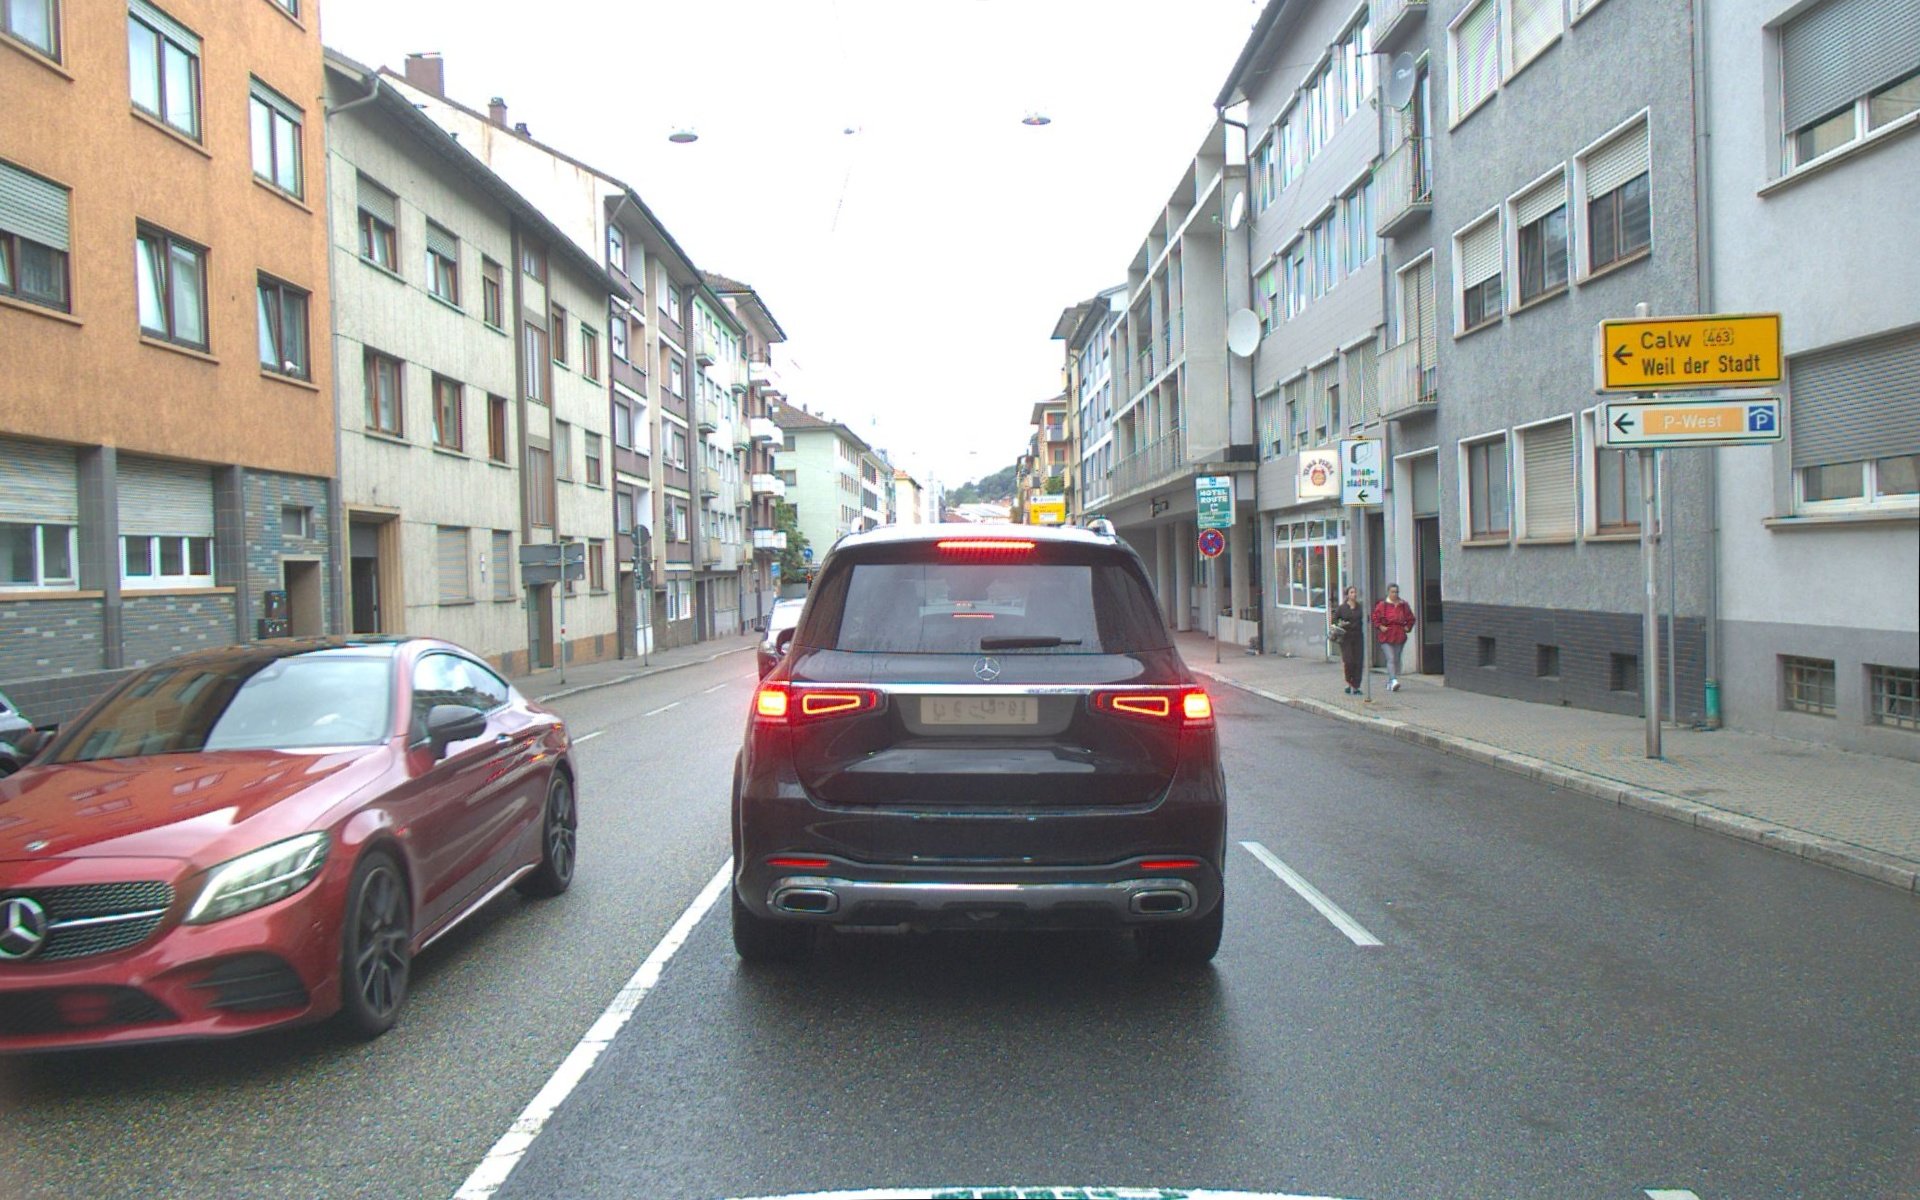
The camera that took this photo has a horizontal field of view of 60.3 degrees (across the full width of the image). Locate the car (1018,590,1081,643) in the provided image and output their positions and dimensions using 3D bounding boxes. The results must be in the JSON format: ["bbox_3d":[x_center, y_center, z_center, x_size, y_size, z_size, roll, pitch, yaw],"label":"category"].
[{"bbox_3d":[3.187,0.568,59.843,1.901,1.806,4.744,0,0,-2],"label":"car"}]

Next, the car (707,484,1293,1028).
[{"bbox_3d":[0.099,0.536,7.684,1.984,1.837,3.999,1,0,-1],"label":"car"}]

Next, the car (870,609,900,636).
[{"bbox_3d":[-4.433,1.341,98.213,1.615,1.464,4.124,-3,0,-1],"label":"car"}]

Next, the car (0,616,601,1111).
[{"bbox_3d":[-2.890,0.846,7.230,1.690,1.414,4.338,-3,0,-1],"label":"car"}]

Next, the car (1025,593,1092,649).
[{"bbox_3d":[2.915,0.604,49.606,1.731,1.608,3.999,0,0,-1],"label":"car"}]

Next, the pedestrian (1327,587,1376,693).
[{"bbox_3d":[5.843,0.591,24.690,0.496,1.526,0.562,-4,0,-2],"label":"pedestrian"}]

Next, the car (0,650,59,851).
[{"bbox_3d":[-7.967,1.122,10.787,1.759,1.463,4.525,1,0,-1],"label":"car"}]

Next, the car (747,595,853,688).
[{"bbox_3d":[-3.137,0.772,33.033,1.698,1.602,4.010,-5,0,-1],"label":"car"}]

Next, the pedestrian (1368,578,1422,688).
[{"bbox_3d":[6.512,0.489,24.772,0.549,1.606,0.526,-4,0,-2],"label":"pedestrian"}]
